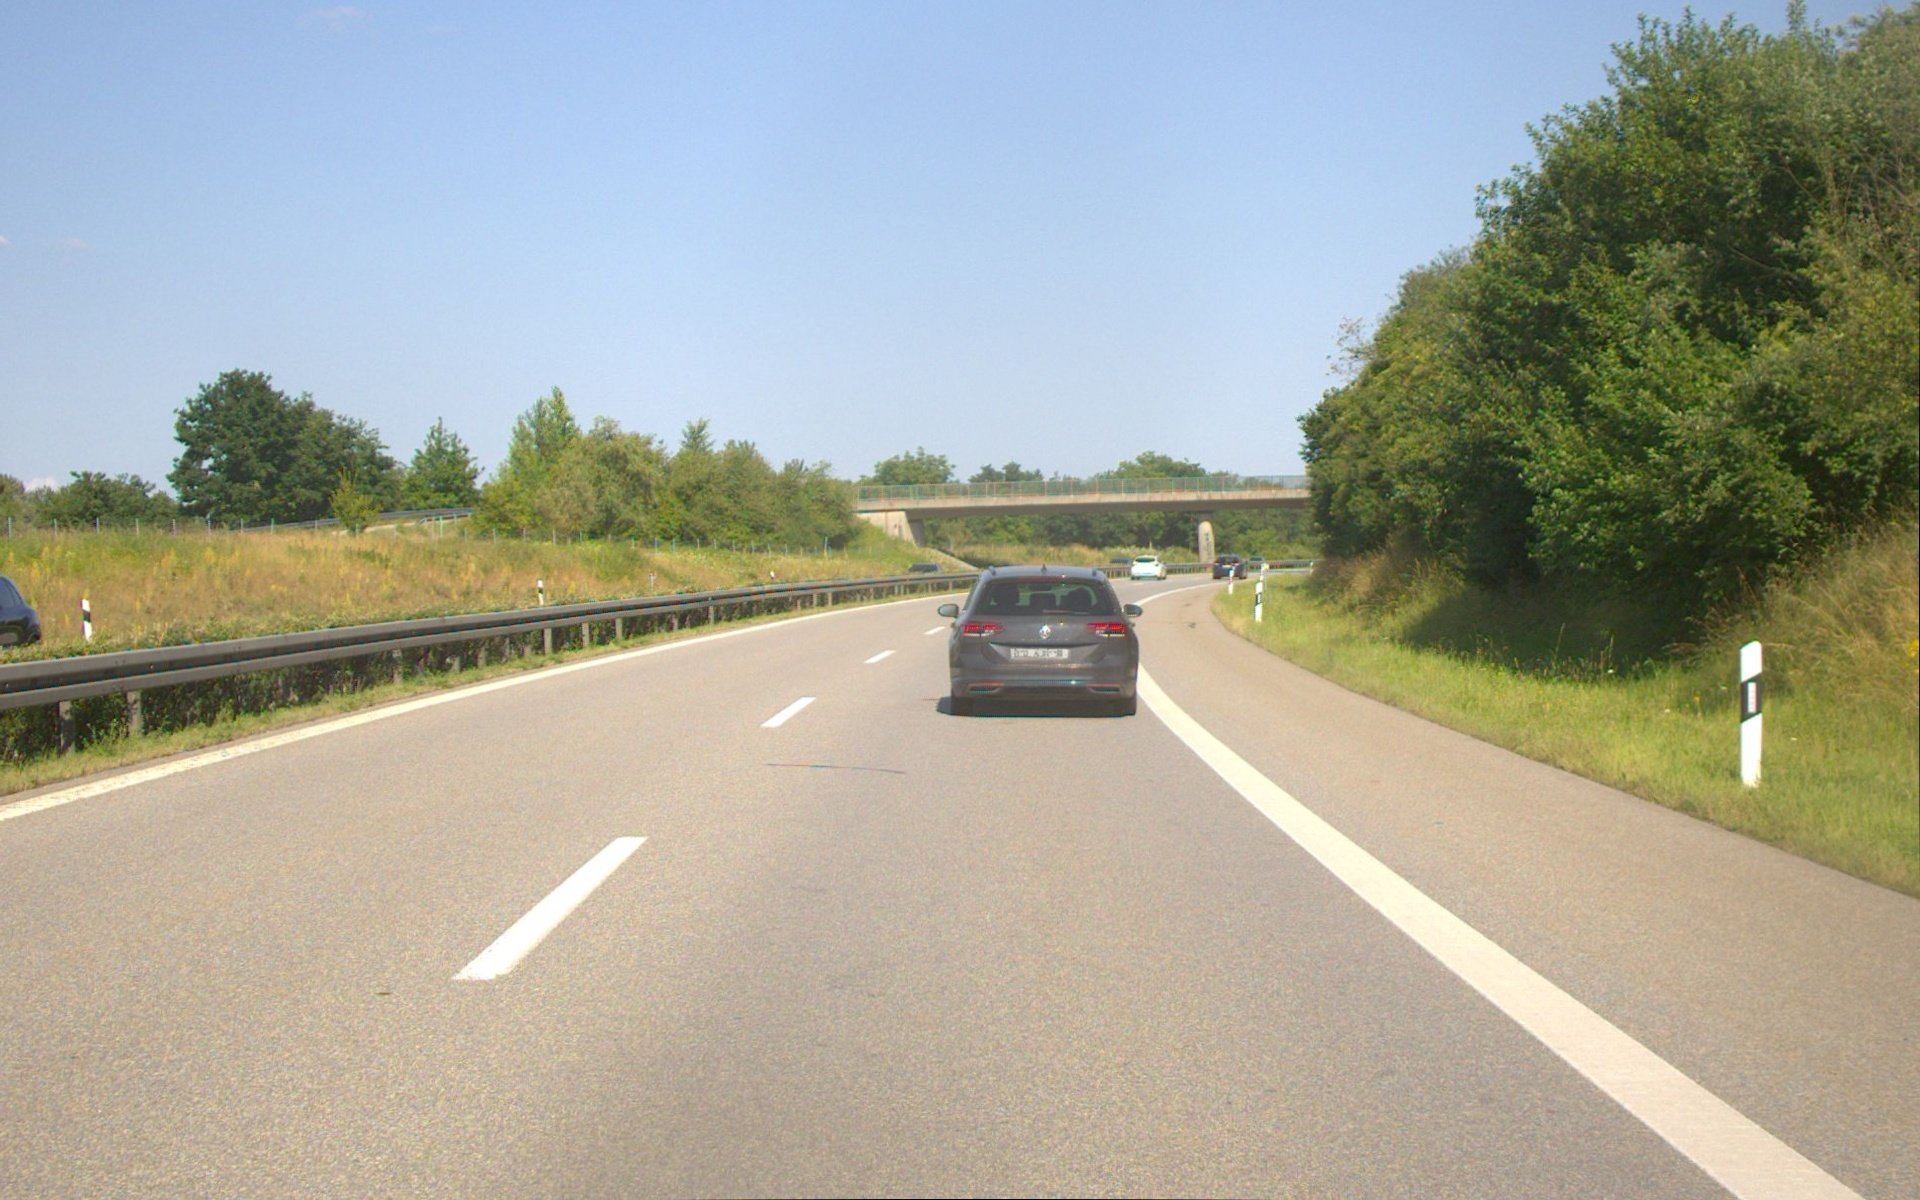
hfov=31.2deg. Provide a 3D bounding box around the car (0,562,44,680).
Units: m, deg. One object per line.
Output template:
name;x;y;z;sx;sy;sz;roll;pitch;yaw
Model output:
car;-13.728;0.304;45.715;1.831;1.547;4.466;0;2;1

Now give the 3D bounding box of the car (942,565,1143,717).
car;0.860;0.351;33.578;1.791;1.340;4.000;2;1;3

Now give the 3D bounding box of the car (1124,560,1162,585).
car;10.682;-1.586;200.523;2.007;1.340;3.999;1;-1;6

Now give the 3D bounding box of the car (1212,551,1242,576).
car;16.199;-2.190;208.755;1.711;1.382;3.355;1;-1;3
